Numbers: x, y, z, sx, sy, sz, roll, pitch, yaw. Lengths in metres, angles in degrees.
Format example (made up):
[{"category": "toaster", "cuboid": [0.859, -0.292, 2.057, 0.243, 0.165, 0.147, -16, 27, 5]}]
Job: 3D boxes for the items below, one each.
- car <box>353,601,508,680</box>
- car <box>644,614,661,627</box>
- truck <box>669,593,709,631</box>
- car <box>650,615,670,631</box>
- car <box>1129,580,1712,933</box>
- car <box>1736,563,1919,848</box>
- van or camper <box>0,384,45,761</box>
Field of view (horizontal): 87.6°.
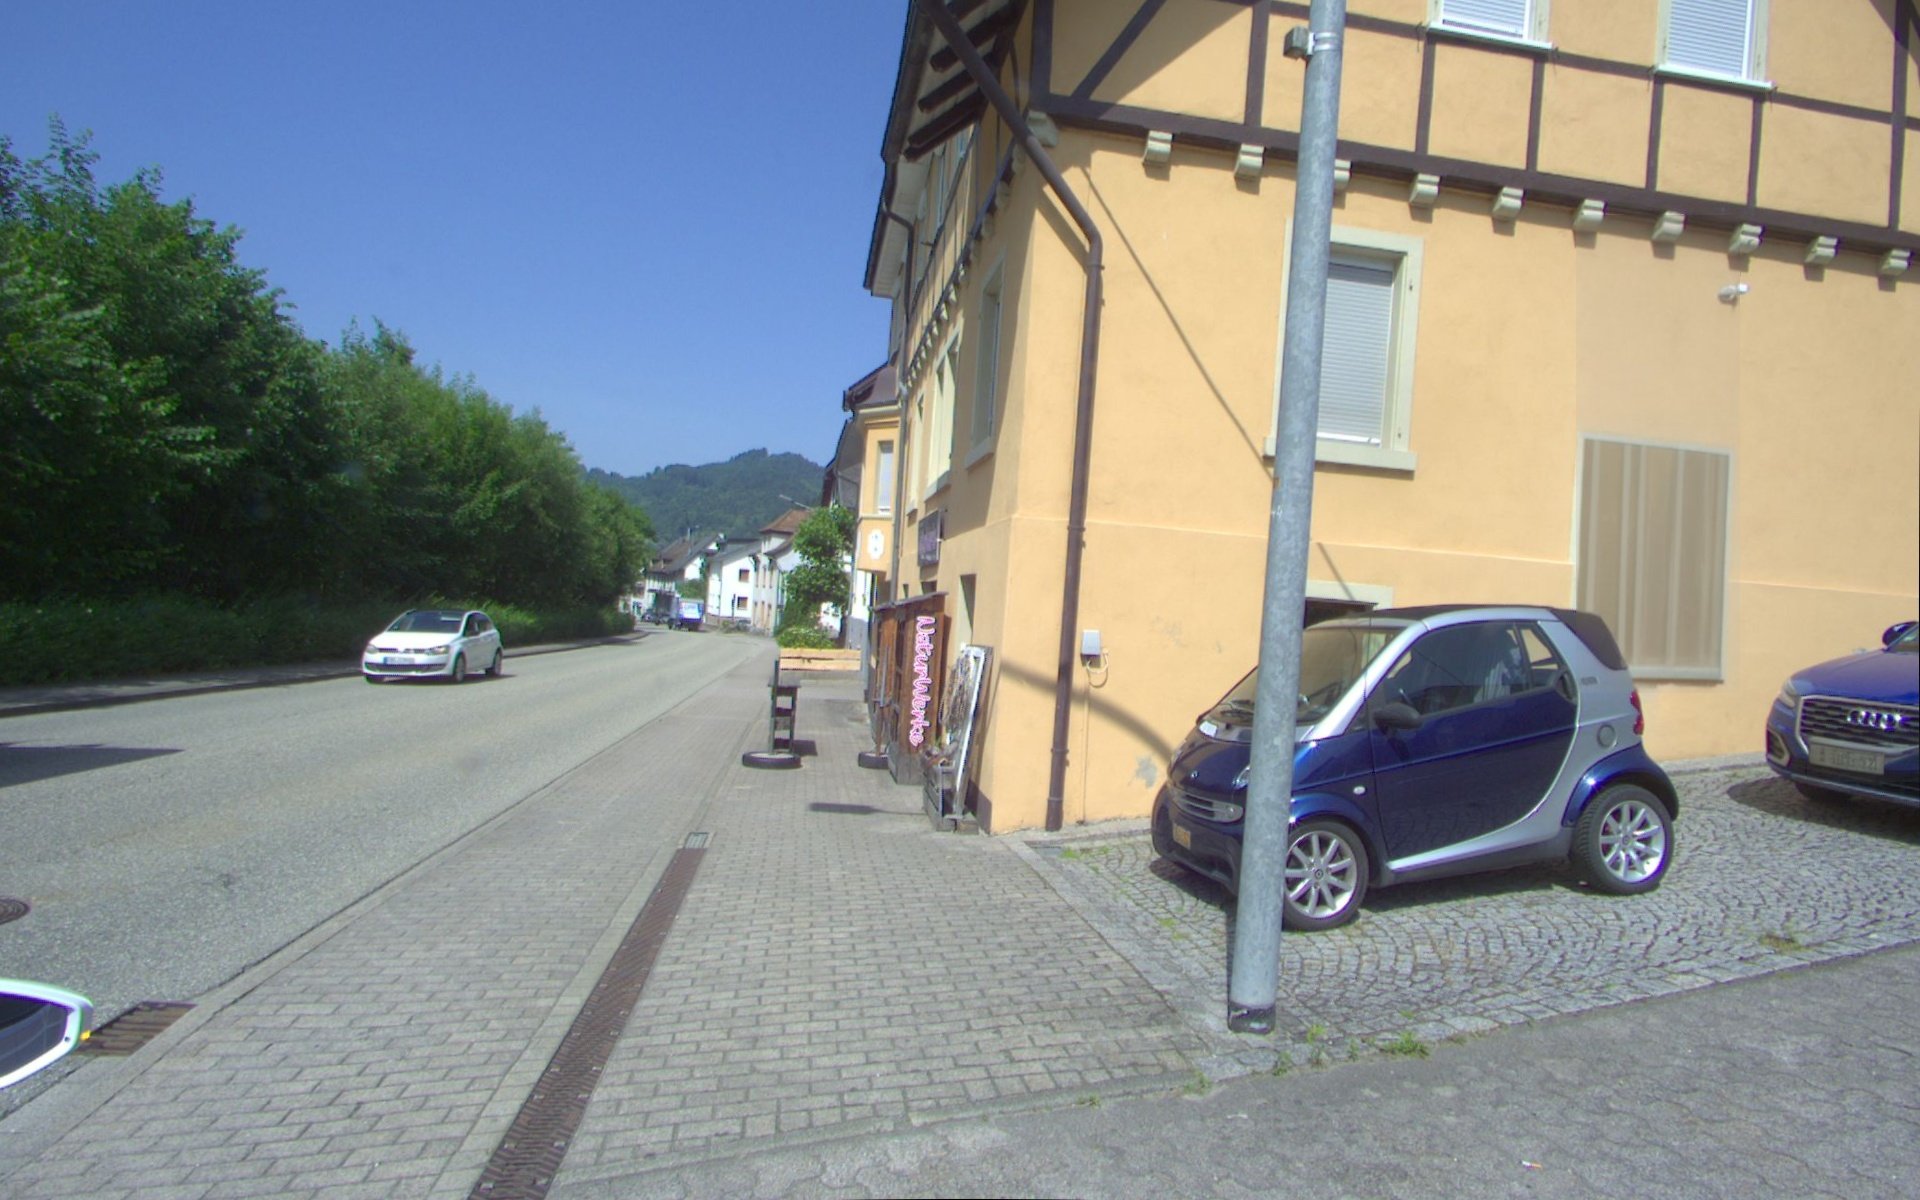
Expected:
[{"category": "car", "cuboid": [-10.602, 0.824, 20.337, 1.579, 1.423, 3.827, 1, -2, -9]}, {"category": "car", "cuboid": [-44.058, 2.961, 143.274, 1.967, 1.905, 3.989, 1, -2, -22]}, {"category": "truck", "cuboid": [-28.537, 1.336, 105.222, 3.317, 3.830, 8.422, 0, -2, -20]}, {"category": "car", "cuboid": [-38.350, 2.940, 127.992, 1.968, 1.905, 3.987, 1, -2, -24]}, {"category": "car", "cuboid": [2.487, 0.751, 5.664, 2.613, 1.556, 1.424, -2, -1, -13]}, {"category": "car", "cuboid": [7.385, 0.627, 6.471, 3.863, 1.646, 1.733, 0, 0, -14]}, {"category": "van or camper", "cuboid": [-8.255, -0.333, 4.180, 2.321, 2.991, 8.048, 2, -1, -8]}]
